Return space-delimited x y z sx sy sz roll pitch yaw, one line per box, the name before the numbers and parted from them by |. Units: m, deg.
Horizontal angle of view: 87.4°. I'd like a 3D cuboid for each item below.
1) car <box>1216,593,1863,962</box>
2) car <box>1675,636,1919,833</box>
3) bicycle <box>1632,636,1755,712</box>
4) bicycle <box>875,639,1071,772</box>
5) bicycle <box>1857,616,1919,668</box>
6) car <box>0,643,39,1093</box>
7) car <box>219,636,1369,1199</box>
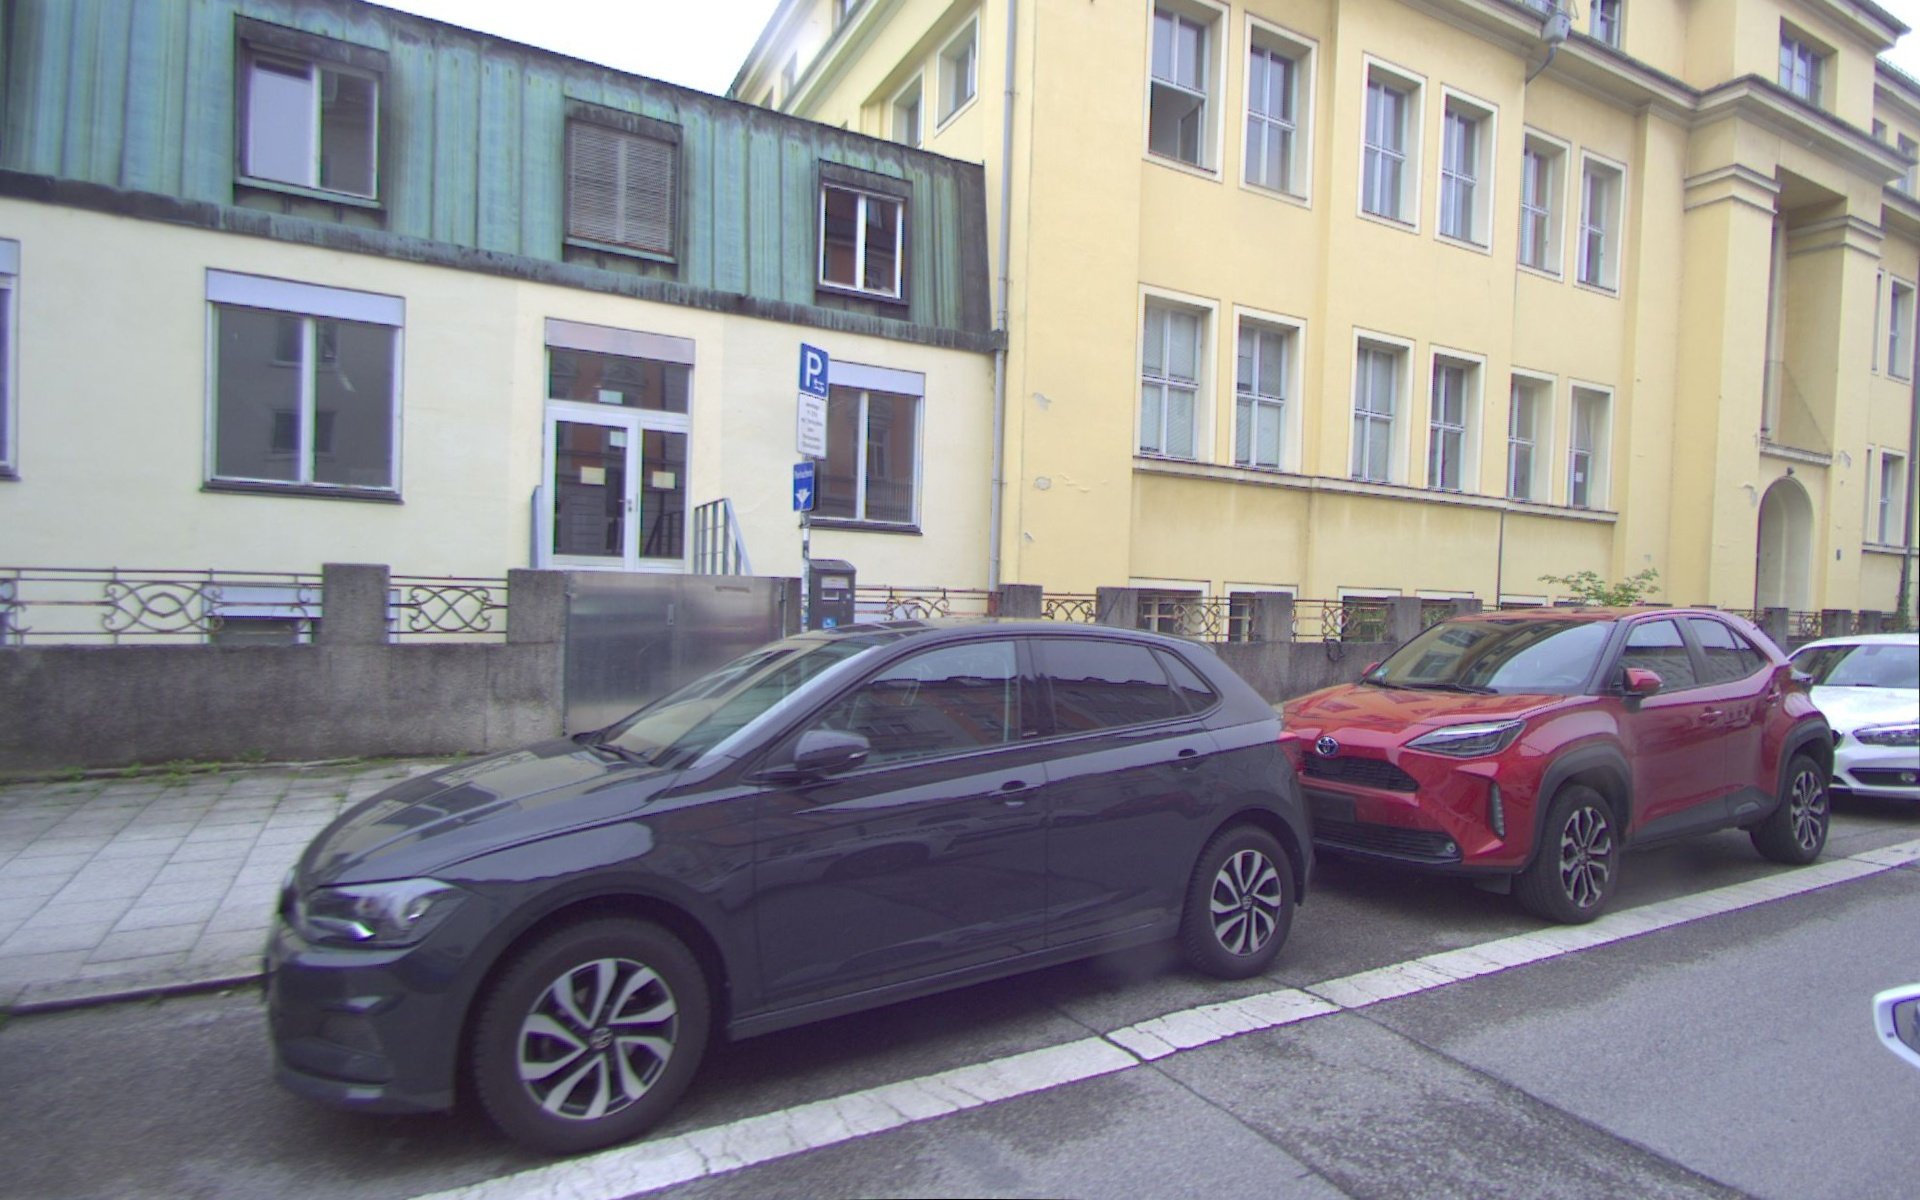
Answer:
car | 3.596 0.828 6.083 3.951 1.587 1.667 1 -3 -31
car | 8.244 1.029 8.885 3.951 1.416 1.667 1 -3 -31
bicycle | 11.269 1.120 15.436 1.689 1.092 0.585 1 2 -16
bicycle | 0.148 1.000 9.875 1.912 1.188 0.422 1 2 -25
bicycle | 23.685 1.057 25.242 0.571 1.205 1.549 1 3 -29
car | -4.503 0.796 1.645 4.080 1.423 1.785 1 -3 -31
car | -0.362 0.879 3.928 3.948 1.423 1.666 1 -3 -33
